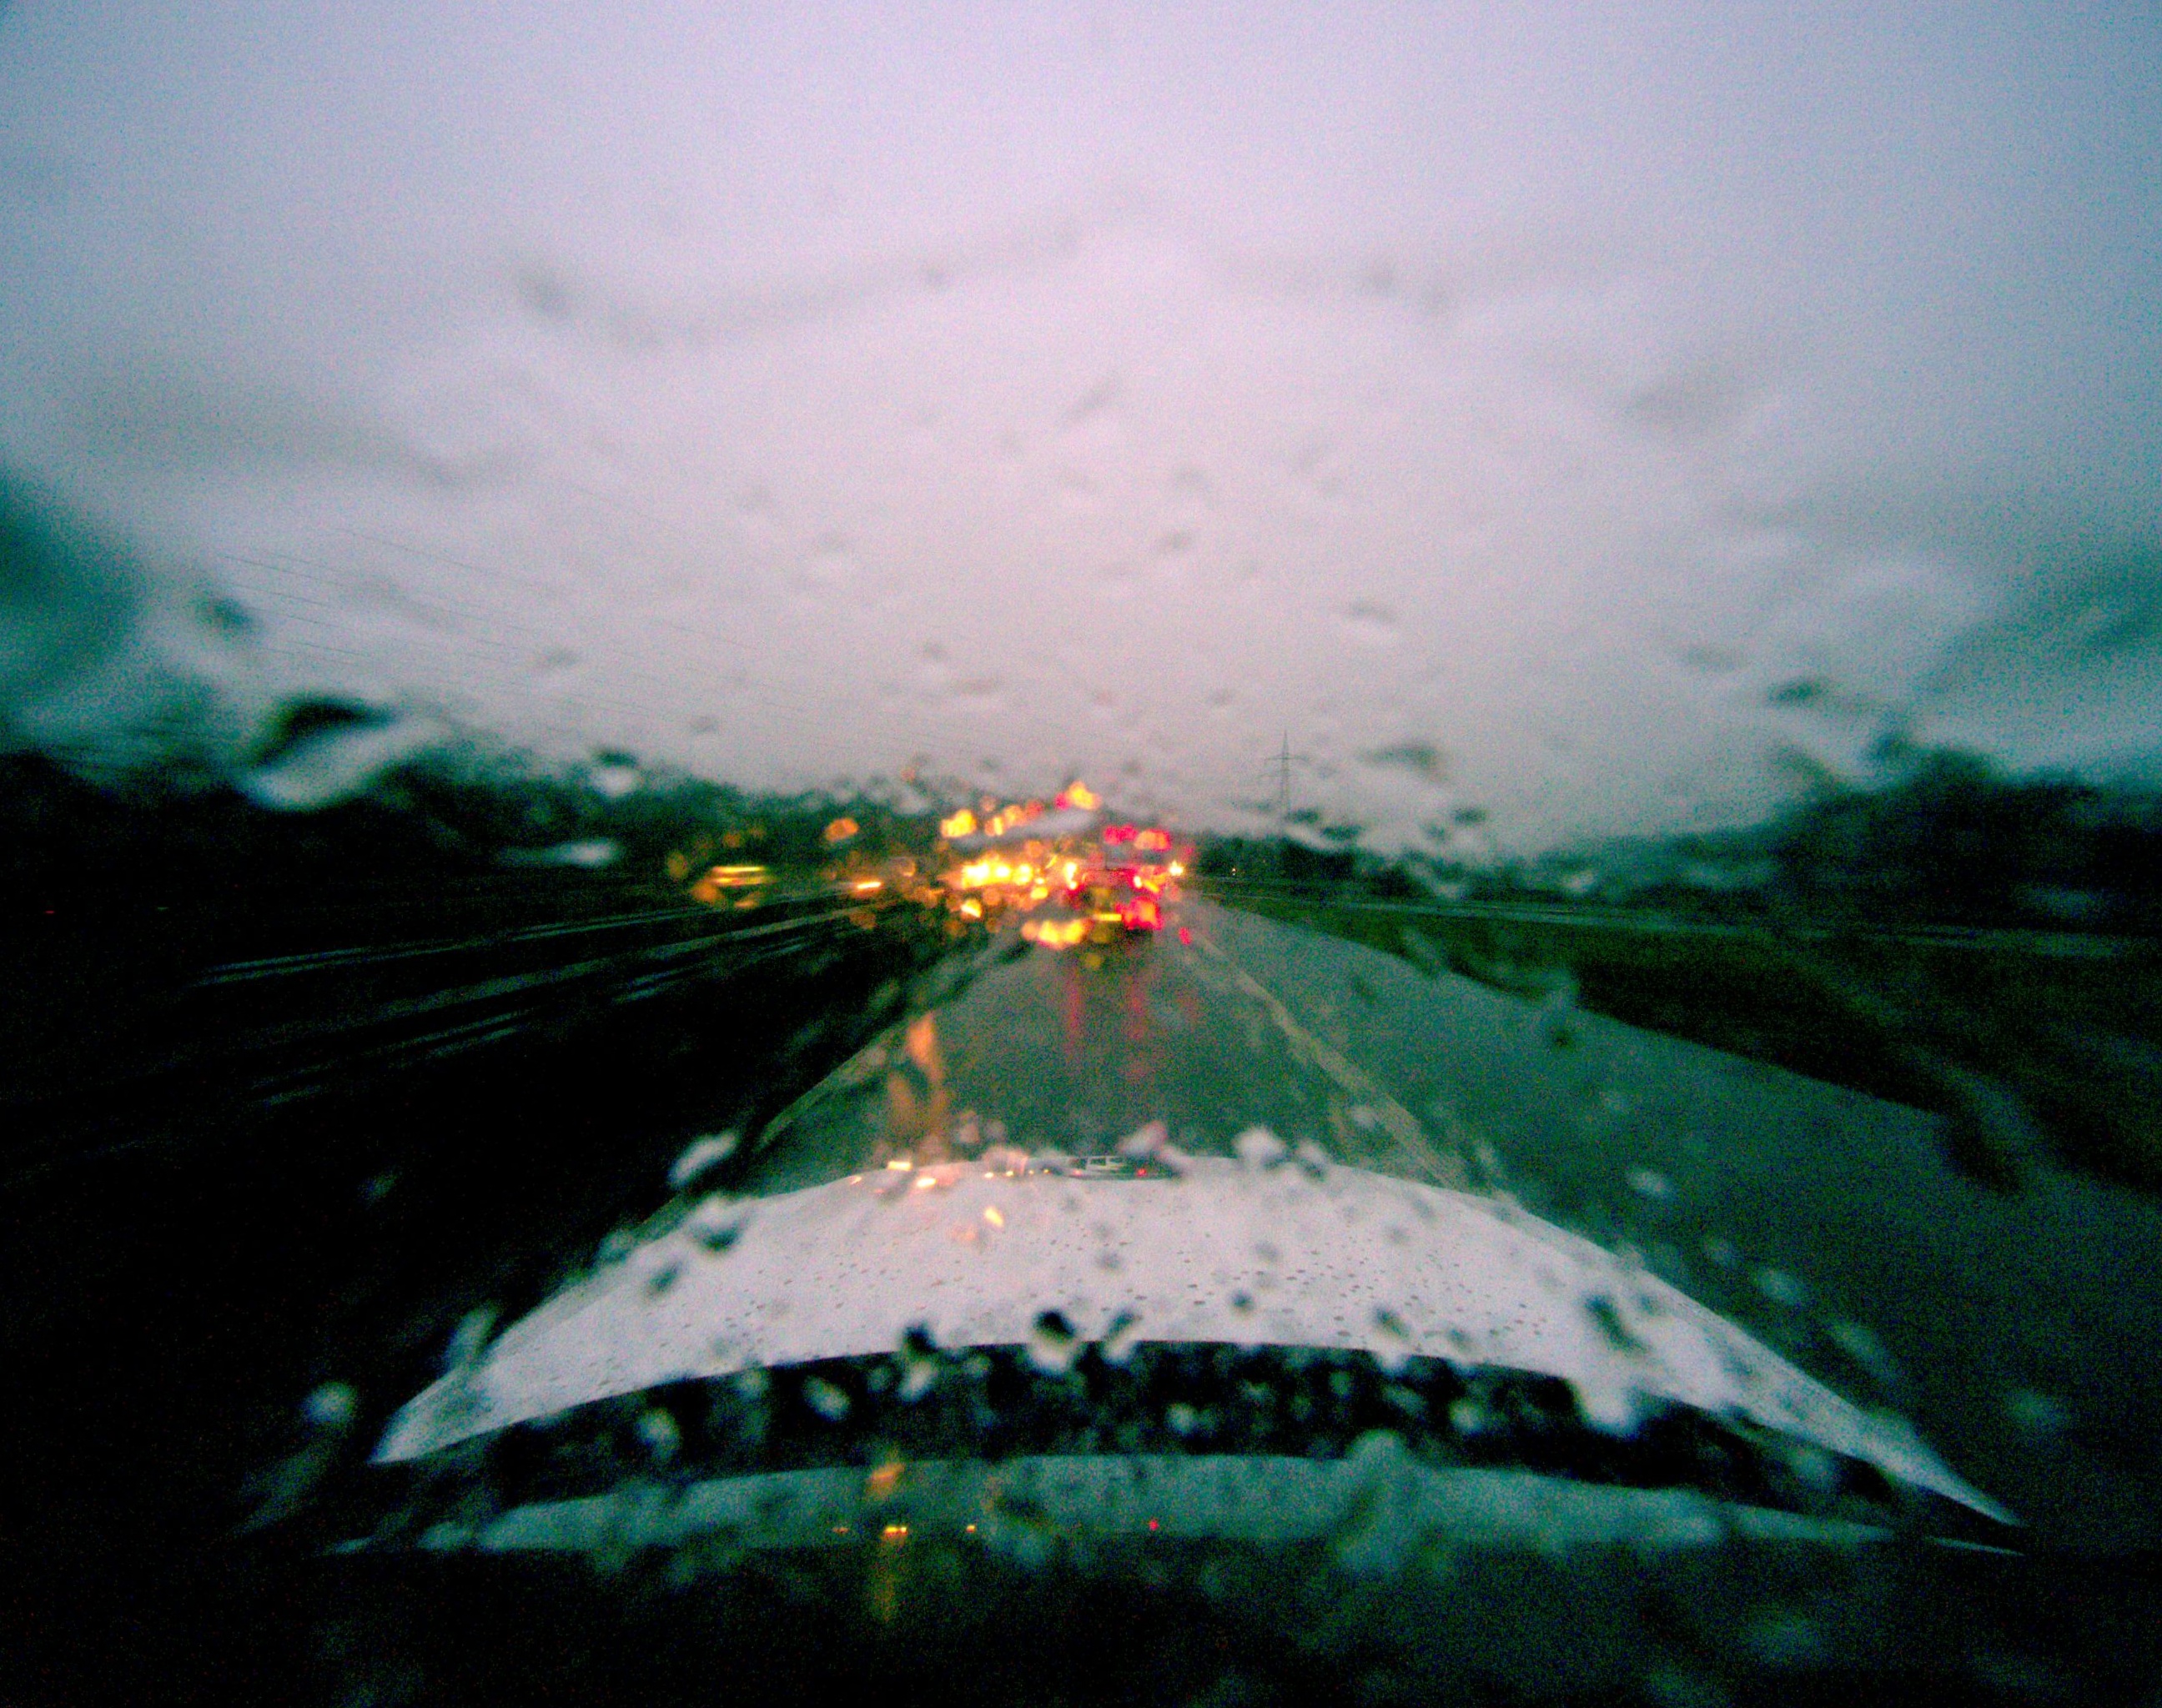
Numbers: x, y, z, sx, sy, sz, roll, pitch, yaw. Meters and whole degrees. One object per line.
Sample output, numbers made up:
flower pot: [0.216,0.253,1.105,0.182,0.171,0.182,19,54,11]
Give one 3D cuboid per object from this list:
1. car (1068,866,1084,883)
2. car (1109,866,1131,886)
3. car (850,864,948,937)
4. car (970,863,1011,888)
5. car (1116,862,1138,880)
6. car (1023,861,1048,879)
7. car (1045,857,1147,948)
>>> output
car: [-0.621,2.641,105.503,1.865,2.137,5.181,-1,-1,2]
car: [3.654,2.052,76.765,1.938,1.745,4.002,3,-1,2]
car: [-5.718,1.396,26.228,1.988,2.014,4.997,3,-1,-1]
car: [-5.557,1.316,50.598,1.987,1.472,4.472,0,-1,0]
car: [5.355,1.972,94.464,1.936,1.744,4.009,8,0,8]
car: [-3.787,1.320,67.849,1.640,1.501,4.003,-1,-1,3]
car: [0.361,0.862,16.047,1.723,1.533,4.045,-1,-1,3]
